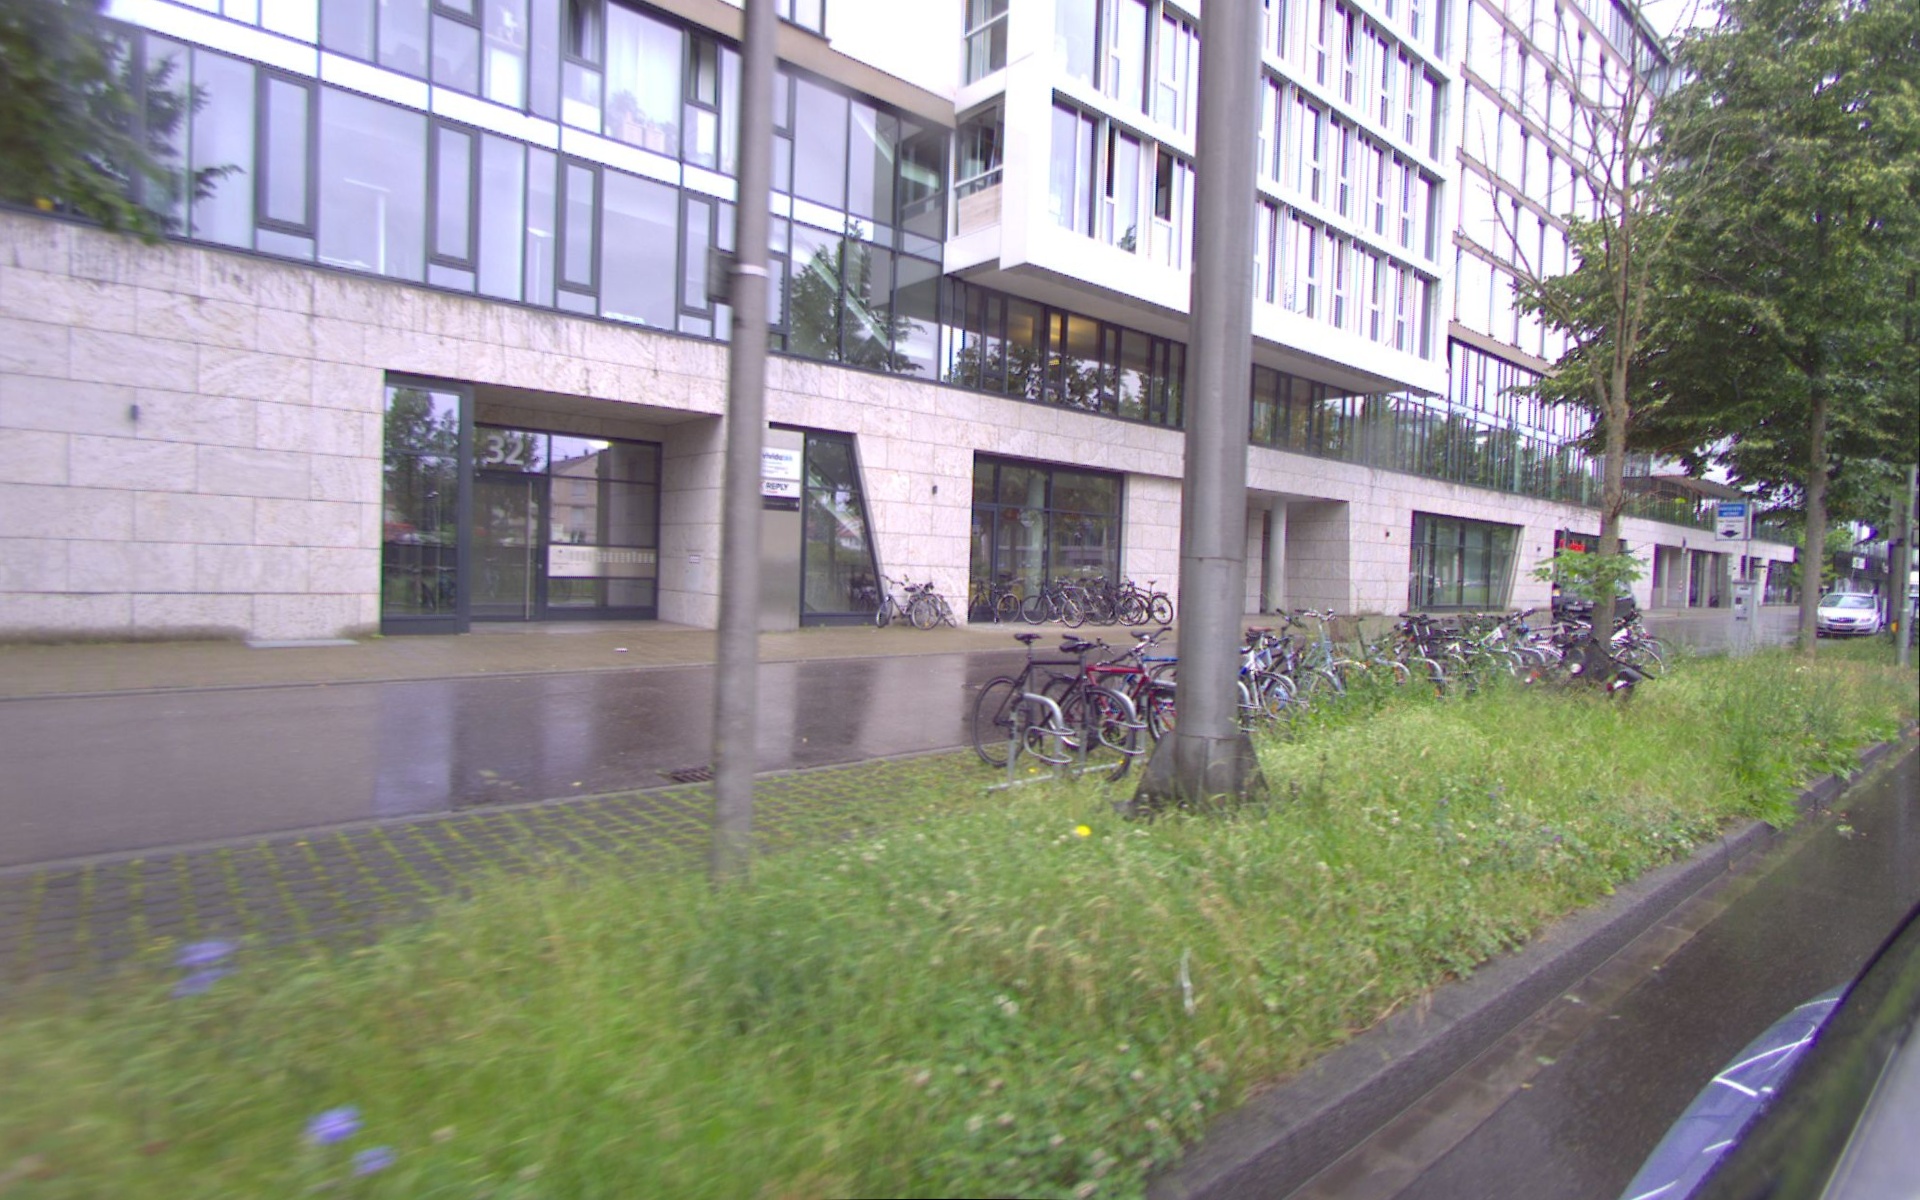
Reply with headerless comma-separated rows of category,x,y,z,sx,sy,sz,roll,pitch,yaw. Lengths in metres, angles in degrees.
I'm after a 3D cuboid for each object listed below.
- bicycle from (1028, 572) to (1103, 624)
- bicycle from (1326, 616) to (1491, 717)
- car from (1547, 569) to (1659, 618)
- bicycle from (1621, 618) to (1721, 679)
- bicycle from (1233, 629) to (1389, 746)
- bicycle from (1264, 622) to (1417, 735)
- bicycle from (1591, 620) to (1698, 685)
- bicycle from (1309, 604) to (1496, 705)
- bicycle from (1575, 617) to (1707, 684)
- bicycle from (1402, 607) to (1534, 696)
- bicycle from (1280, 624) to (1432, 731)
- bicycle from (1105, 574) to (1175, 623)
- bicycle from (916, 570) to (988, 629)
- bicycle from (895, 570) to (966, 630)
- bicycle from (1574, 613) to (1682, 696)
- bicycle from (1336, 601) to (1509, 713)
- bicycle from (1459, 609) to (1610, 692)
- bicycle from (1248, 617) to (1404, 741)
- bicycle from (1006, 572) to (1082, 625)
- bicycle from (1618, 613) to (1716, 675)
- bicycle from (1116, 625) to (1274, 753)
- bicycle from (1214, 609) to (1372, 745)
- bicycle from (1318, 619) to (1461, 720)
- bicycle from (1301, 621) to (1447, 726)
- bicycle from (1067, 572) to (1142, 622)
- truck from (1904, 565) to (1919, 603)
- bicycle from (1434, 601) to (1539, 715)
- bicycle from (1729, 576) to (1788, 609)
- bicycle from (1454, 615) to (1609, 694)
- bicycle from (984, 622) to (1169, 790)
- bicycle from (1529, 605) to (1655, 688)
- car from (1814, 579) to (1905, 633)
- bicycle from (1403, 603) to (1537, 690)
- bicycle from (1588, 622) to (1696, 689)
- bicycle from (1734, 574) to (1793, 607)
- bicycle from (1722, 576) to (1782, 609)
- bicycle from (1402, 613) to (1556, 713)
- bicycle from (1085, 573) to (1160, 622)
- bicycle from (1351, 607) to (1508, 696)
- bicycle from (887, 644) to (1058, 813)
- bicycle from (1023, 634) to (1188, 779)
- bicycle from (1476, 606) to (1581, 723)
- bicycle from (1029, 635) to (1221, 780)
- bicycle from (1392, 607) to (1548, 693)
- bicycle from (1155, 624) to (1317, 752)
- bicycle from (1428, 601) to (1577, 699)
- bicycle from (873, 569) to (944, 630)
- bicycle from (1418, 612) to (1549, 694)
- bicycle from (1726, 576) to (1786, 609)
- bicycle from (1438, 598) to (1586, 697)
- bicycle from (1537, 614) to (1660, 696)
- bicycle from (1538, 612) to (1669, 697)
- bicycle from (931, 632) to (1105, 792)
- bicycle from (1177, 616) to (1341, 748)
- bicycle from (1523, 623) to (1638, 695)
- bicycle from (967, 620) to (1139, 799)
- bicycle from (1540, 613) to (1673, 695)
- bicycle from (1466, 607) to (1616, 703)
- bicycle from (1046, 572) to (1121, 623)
bicycle,2.316,-0.056,22.424,0.531,1.041,1.812,0,3,-38
bicycle,4.447,0.630,10.136,0.272,0.859,1.525,0,2,-41
car,23.607,-0.214,37.098,4.945,1.519,1.999,1,4,-41
bicycle,11.478,0.762,16.382,0.270,0.842,1.295,1,3,-29
bicycle,2.987,0.718,8.694,0.270,0.859,1.291,0,2,-41
bicycle,3.431,0.685,9.205,0.270,0.859,1.291,0,3,-41
bicycle,10.438,0.785,15.470,0.270,0.859,1.293,1,3,-36
bicycle,4.580,0.536,10.602,0.270,0.859,1.821,0,3,-41
bicycle,10.604,0.768,15.823,0.270,0.859,1.678,1,3,-36
bicycle,5.704,0.559,11.415,0.270,0.859,1.291,0,3,-41
bicycle,3.665,0.690,9.430,0.348,0.859,1.291,0,2,-41
bicycle,4.252,-0.048,24.022,0.394,1.041,1.812,0,3,-38
bicycle,-0.173,-0.028,19.703,0.404,1.041,1.756,0,3,-38
bicycle,-0.593,-0.021,19.405,0.415,1.041,1.699,0,3,-38
bicycle,9.875,0.784,15.000,0.270,1.087,1.294,1,3,-32
bicycle,4.874,0.570,10.754,0.315,1.000,1.646,0,3,-41
bicycle,7.613,0.642,13.483,1.706,0.959,0.308,3,2,44
bicycle,3.210,0.667,8.961,0.270,0.930,1.291,0,3,-41
bicycle,1.804,-0.051,22.015,0.531,1.041,1.812,0,3,-38
bicycle,11.686,0.710,16.765,0.295,0.884,1.295,1,3,-29
bicycle,1.830,0.666,8.013,0.270,0.859,1.291,0,2,-41
bicycle,2.763,0.609,8.497,0.270,1.001,1.291,0,2,-41
bicycle,4.185,0.649,9.922,0.270,0.859,1.291,0,2,-41
bicycle,3.917,0.672,9.648,0.270,0.859,1.291,0,2,-41
bicycle,3.283,-0.081,23.188,0.531,1.041,1.812,0,3,-38
truck,93.835,-1.485,97.923,8.406,3.483,3.028,0,3,-44
bicycle,4.341,0.446,8.309,1.270,0.859,0.275,0,3,-41
bicycle,49.405,-0.491,62.615,0.694,1.883,2.690,1,3,-35
bicycle,7.408,0.684,13.193,0.308,0.859,1.708,0,3,-44
bicycle,0.779,0.693,7.141,0.305,0.992,1.463,0,2,-41
bicycle,8.886,0.624,14.286,0.342,1.030,1.444,1,3,-36
car,28.910,0.223,32.652,1.879,1.524,4.655,5,1,39
bicycle,6.177,0.537,12.308,0.270,0.908,1.412,0,3,-42
bicycle,10.236,0.812,15.226,0.270,0.868,1.293,1,3,-36
bicycle,50.004,-0.597,63.004,0.694,1.883,2.690,1,3,-35
bicycle,48.196,-0.480,61.616,0.694,1.883,2.690,1,3,-35
bicycle,6.104,0.709,11.990,0.270,1.035,1.618,0,2,-41
bicycle,3.757,-0.072,23.554,0.531,1.041,1.812,0,3,-38
bicycle,5.260,0.550,11.421,0.270,0.859,1.618,0,2,-41
bicycle,0.045,0.768,6.422,0.270,0.859,1.291,1,3,-41
bicycle,1.023,0.736,7.353,0.270,0.859,1.291,1,3,-41
bicycle,4.571,0.485,8.109,1.270,0.859,0.275,0,3,-41
bicycle,1.219,0.773,7.760,0.305,0.859,1.598,0,3,-41
bicycle,5.893,0.553,11.774,0.270,0.859,1.618,0,2,-41
bicycle,2.195,0.675,8.171,0.270,0.859,1.291,0,3,-41
bicycle,6.834,0.603,12.822,0.292,1.066,1.615,0,3,-42
bicycle,-0.992,-0.036,19.069,0.415,1.041,1.699,0,3,-38
bicycle,6.521,0.639,12.657,0.270,0.859,1.407,0,3,-42
bicycle,48.782,-0.489,62.058,0.694,1.883,2.690,1,3,-35
bicycle,7.067,0.576,13.028,0.292,1.110,1.615,0,3,-42
bicycle,9.163,0.762,14.567,0.342,1.030,1.444,1,3,-34
bicycle,8.785,0.722,13.862,0.343,1.030,1.454,0,2,-42
bicycle,0.345,0.682,6.595,0.305,0.859,1.291,0,2,-41
bicycle,2.440,0.641,8.382,0.270,0.921,1.328,0,3,-41
bicycle,8.410,0.779,13.750,1.289,0.859,0.271,3,2,44
bicycle,0.594,0.692,6.854,0.270,1.007,1.291,0,3,-41
bicycle,9.480,0.762,14.900,0.400,1.030,1.580,1,3,-34
bicycle,7.848,0.711,13.737,1.706,1.116,0.279,5,3,43
bicycle,2.753,-0.073,22.777,0.531,1.041,1.812,0,3,-38
